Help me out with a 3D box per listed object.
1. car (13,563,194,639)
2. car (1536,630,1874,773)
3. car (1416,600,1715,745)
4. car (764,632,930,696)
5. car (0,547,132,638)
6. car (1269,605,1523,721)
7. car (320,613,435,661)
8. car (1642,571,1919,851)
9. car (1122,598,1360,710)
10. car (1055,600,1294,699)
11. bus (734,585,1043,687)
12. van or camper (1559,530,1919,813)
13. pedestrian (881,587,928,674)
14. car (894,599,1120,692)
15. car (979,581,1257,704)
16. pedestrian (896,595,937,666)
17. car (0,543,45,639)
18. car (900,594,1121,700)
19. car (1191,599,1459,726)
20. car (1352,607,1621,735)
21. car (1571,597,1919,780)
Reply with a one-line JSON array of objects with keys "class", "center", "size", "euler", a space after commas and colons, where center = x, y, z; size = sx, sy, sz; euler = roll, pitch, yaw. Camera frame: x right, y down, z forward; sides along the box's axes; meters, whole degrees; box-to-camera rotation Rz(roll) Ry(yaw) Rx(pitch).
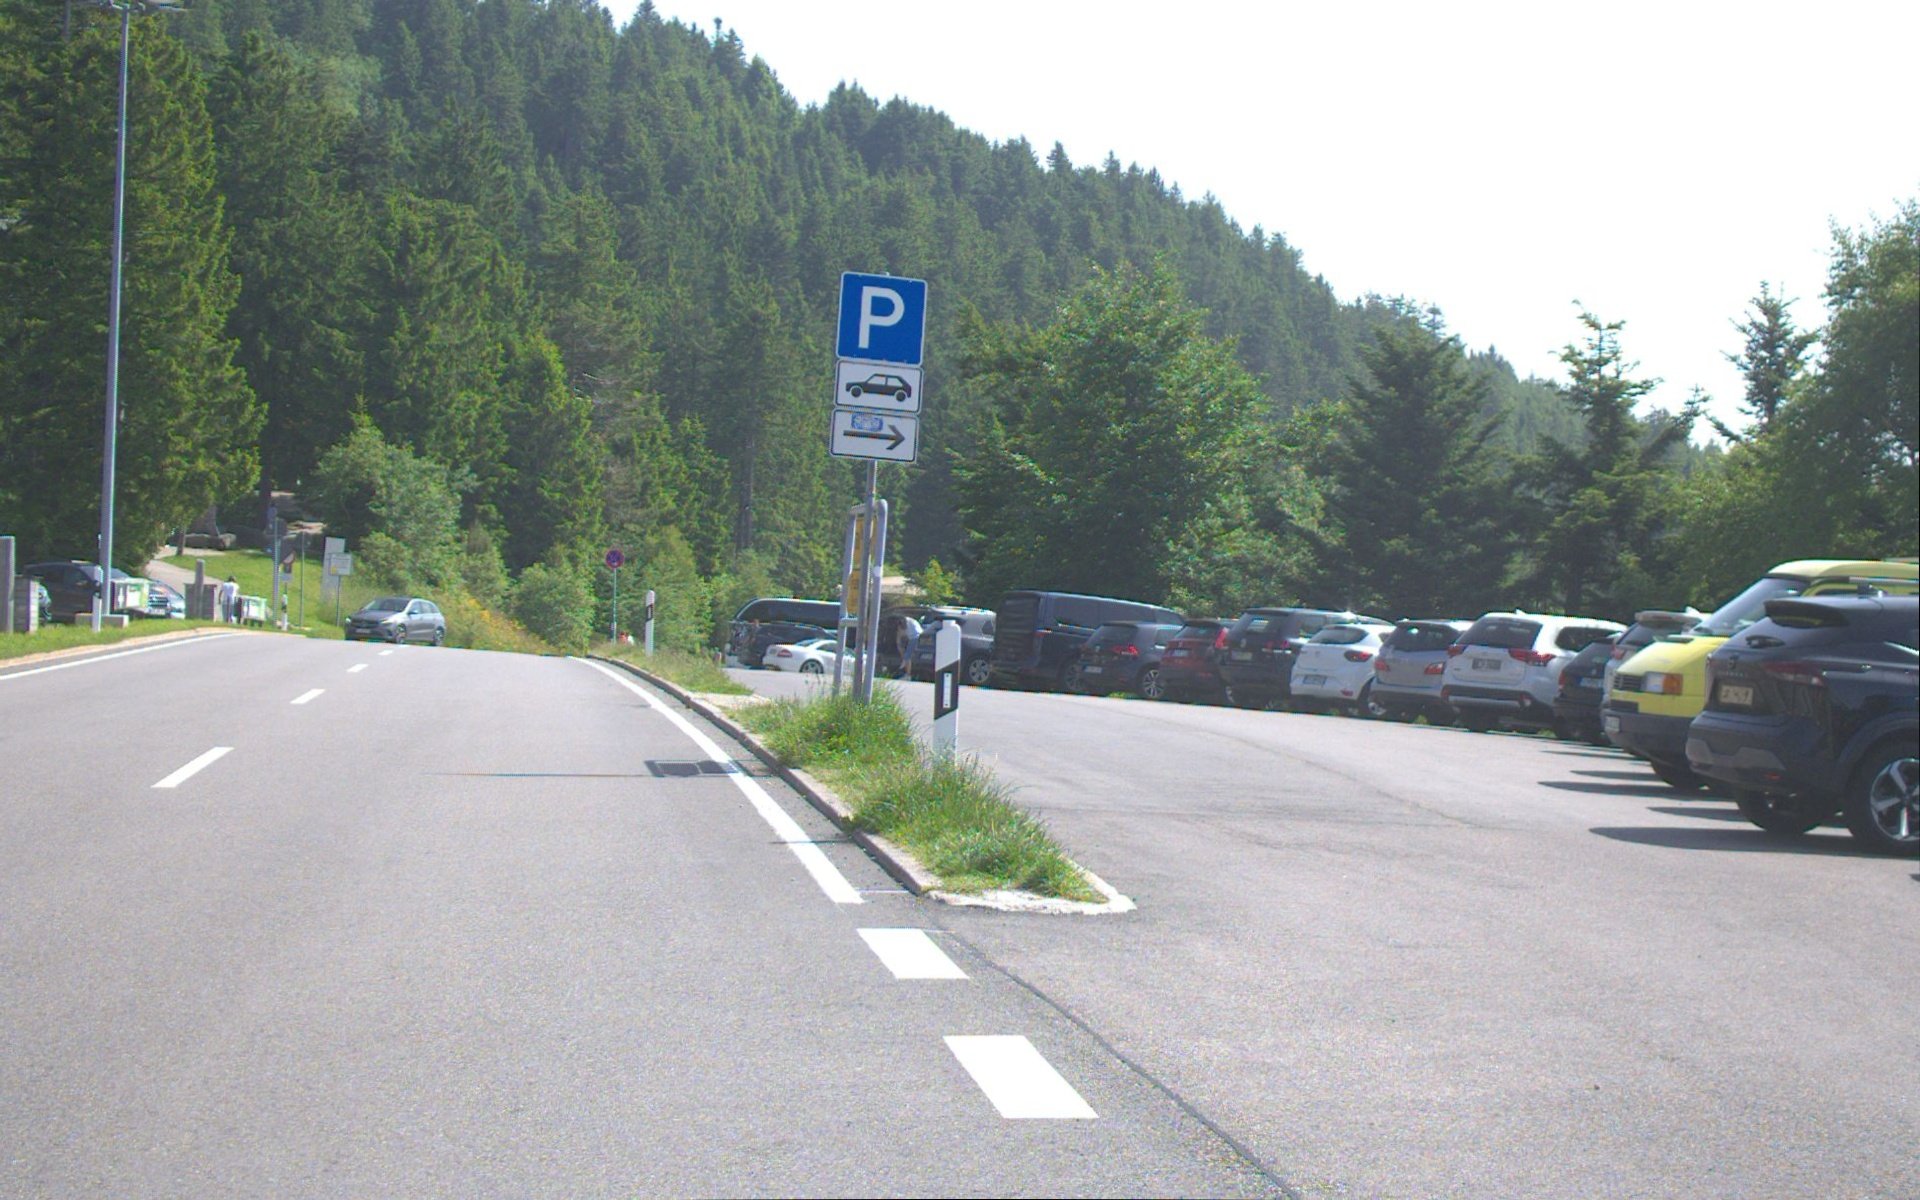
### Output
[{"class": "car", "center": [-20.653, 0.018, 82.830], "size": [4.205, 1.628, 1.785], "euler": [2, -2, 33]}, {"class": "car", "center": [9.598, 1.313, 44.189], "size": [4.038, 1.456, 1.895], "euler": [6, -1, -35]}, {"class": "car", "center": [8.463, 1.021, 47.857], "size": [4.215, 1.689, 1.863], "euler": [5, -1, -44]}, {"class": "car", "center": [-3.298, 1.871, 100.259], "size": [4.452, 1.294, 1.582], "euler": [8, -2, -22]}, {"class": "car", "center": [-17.490, -0.177, 64.306], "size": [4.056, 1.562, 1.736], "euler": [2, 0, 39]}, {"class": "car", "center": [6.941, 1.006, 54.492], "size": [3.988, 1.471, 1.767], "euler": [6, -1, -44]}, {"class": "car", "center": [-18.254, 1.142, 107.860], "size": [1.583, 1.424, 3.364], "euler": [2, 1, 37]}, {"class": "car", "center": [6.655, 0.768, 21.927], "size": [3.986, 1.608, 1.917], "euler": [4, 0, -11]}, {"class": "car", "center": [4.939, 0.960, 60.090], "size": [3.988, 1.584, 1.863], "euler": [6, -1, -44]}, {"class": "car", "center": [3.907, 0.902, 62.516], "size": [3.987, 1.410, 1.745], "euler": [6, -1, -34]}, {"class": "bus", "center": [-3.065, 1.530, 148.819], "size": [12.866, 3.566, 2.980], "euler": [4, 1, 10]}, {"class": "van or camper", "center": [7.718, 0.676, 28.069], "size": [5.089, 2.007, 1.882], "euler": [5, 1, -4]}, {"class": "pedestrian", "center": [-1.151, 0.640, 71.877], "size": [0.580, 1.755, 0.632], "euler": [5, -2, 29]}, {"class": "car", "center": [0.936, 0.906, 68.217], "size": [3.986, 1.438, 1.840], "euler": [6, -1, -28]}, {"class": "car", "center": [3.010, 0.809, 65.349], "size": [4.756, 1.873, 1.967], "euler": [6, -1, -25]}, {"class": "pedestrian", "center": [-0.883, 0.611, 69.763], "size": [0.773, 1.398, 0.669], "euler": [2, 1, 0]}, {"class": "car", "center": [-17.055, -0.220, 57.055], "size": [3.998, 1.546, 1.778], "euler": [3, 1, 45]}, {"class": "car", "center": [1.060, 0.980, 71.395], "size": [3.986, 1.656, 2.000], "euler": [9, -3, -33]}, {"class": "car", "center": [6.034, 1.037, 56.522], "size": [4.261, 1.689, 1.990], "euler": [6, -1, -44]}, {"class": "car", "center": [7.899, 1.068, 51.373], "size": [3.988, 1.544, 1.819], "euler": [6, -1, -44]}, {"class": "car", "center": [9.038, 1.001, 37.695], "size": [4.170, 1.644, 1.892], "euler": [6, -1, -26]}]
